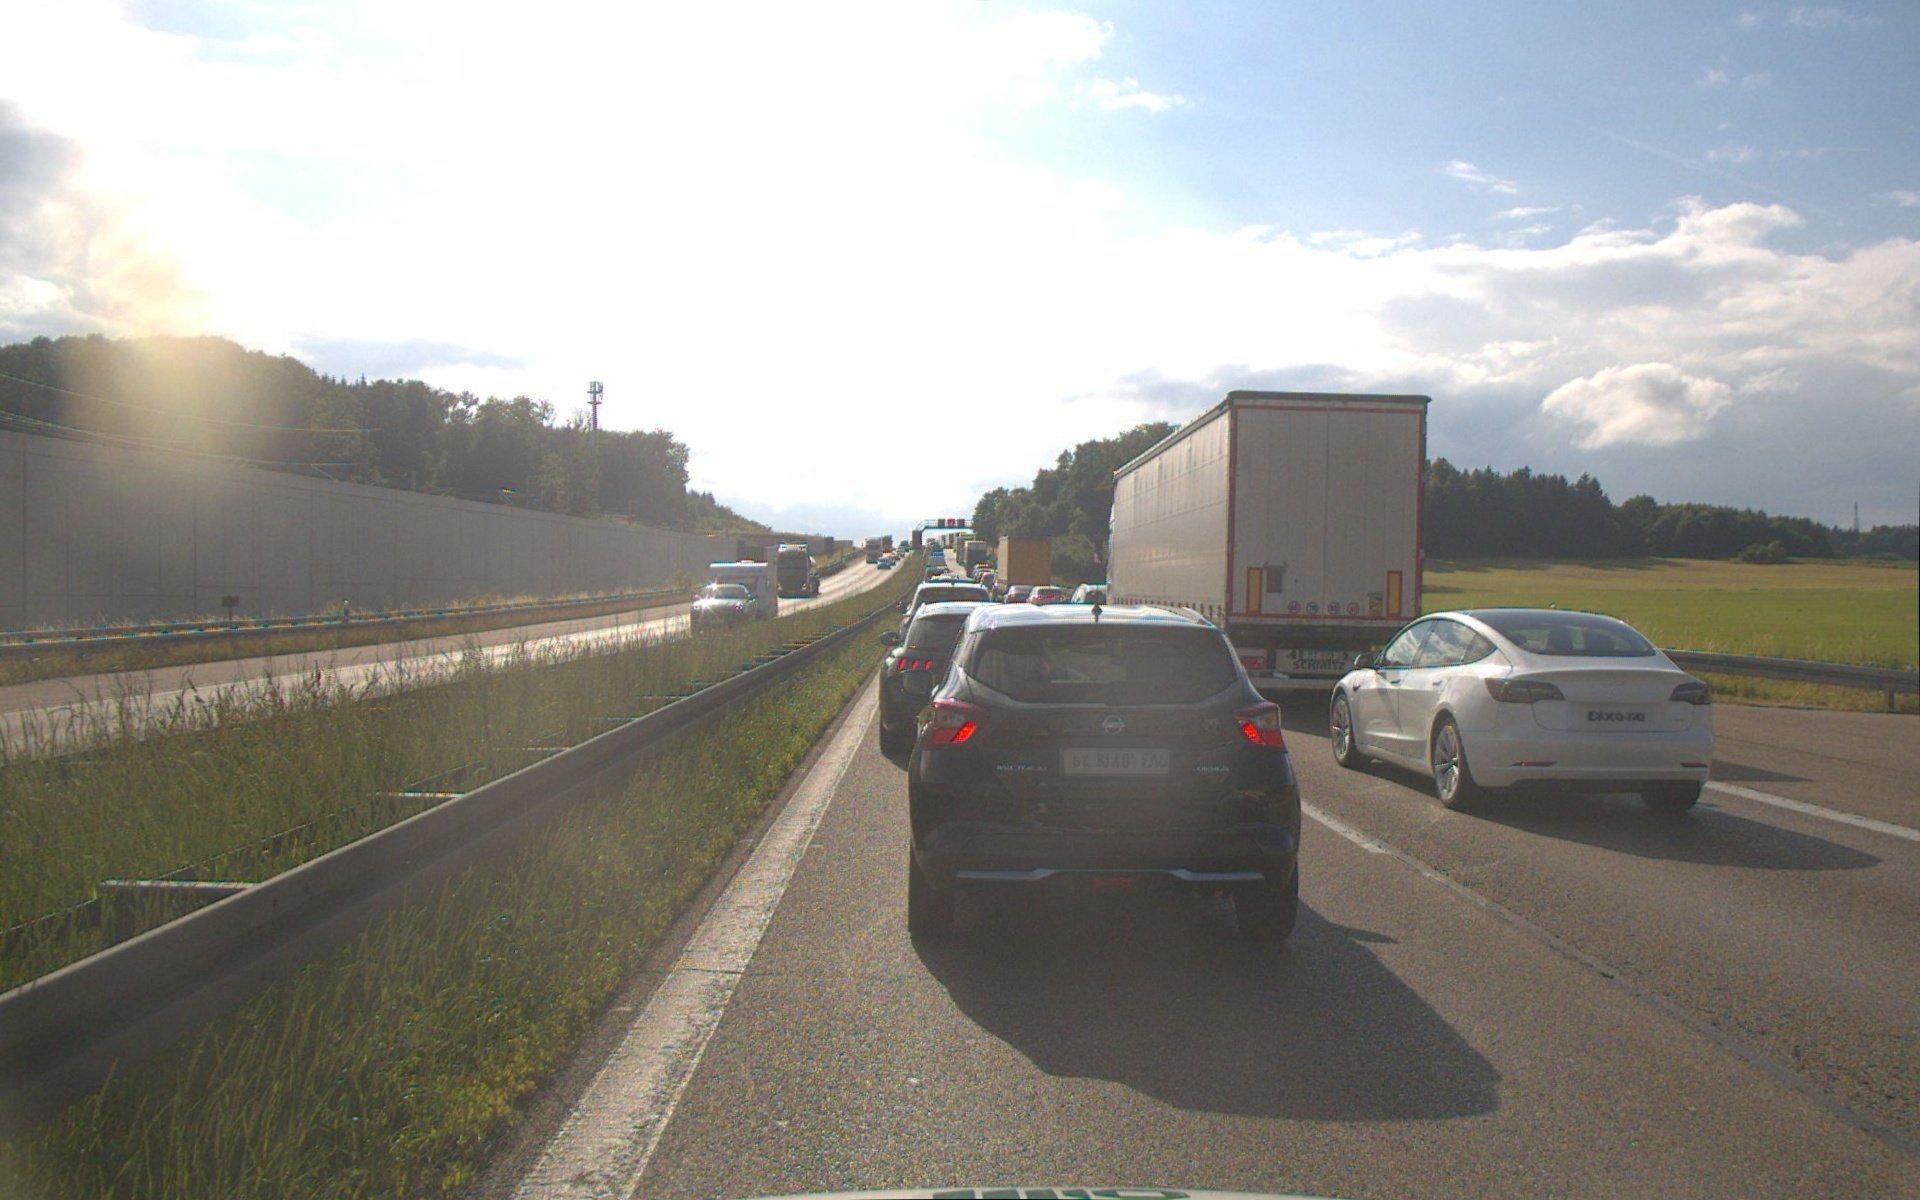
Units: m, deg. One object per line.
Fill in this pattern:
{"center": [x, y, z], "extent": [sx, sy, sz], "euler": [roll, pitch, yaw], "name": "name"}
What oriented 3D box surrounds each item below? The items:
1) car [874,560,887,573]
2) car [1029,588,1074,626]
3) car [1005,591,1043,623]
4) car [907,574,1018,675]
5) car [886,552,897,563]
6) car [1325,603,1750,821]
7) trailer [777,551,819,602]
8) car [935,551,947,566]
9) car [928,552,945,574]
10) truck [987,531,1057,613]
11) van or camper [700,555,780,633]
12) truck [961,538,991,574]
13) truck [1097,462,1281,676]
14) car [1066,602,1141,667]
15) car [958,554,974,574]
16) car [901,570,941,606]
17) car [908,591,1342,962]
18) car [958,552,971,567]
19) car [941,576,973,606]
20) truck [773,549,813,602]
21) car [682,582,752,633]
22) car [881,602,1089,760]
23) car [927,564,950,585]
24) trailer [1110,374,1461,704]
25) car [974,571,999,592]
{"center": [-11.345, -4.809, 235.820], "extent": [1.744, 1.767, 4.101], "euler": [0, 0, -1], "name": "car"}
{"center": [4.274, 0.299, 77.935], "extent": [1.835, 1.673, 4.232], "euler": [0, 1, -1], "name": "car"}
{"center": [3.352, 0.347, 87.304], "extent": [1.835, 1.673, 4.232], "euler": [0, 1, -1], "name": "car"}
{"center": [0.024, 0.408, 29.431], "extent": [1.835, 1.673, 4.231], "euler": [0, 0, -1], "name": "car"}
{"center": [-10.701, -6.652, 258.128], "extent": [1.663, 1.525, 4.426], "euler": [0, 0, -1], "name": "car"}
{"center": [4.366, 0.759, 13.299], "extent": [1.752, 1.418, 4.435], "euler": [0, 0, -2], "name": "car"}
{"center": [-13.096, -1.829, 134.534], "extent": [2.536, 3.970, 10.862], "euler": [-1, 0, -1], "name": "trailer"}
{"center": [-2.920, -6.384, 251.919], "extent": [1.835, 2.196, 5.211], "euler": [0, 3, -1], "name": "car"}
{"center": [-2.586, -4.052, 180.501], "extent": [1.835, 2.196, 5.211], "euler": [0, 3, -1], "name": "car"}
{"center": [3.652, -1.543, 100.763], "extent": [3.230, 4.657, 12.434], "euler": [1, 0, -2], "name": "truck"}
{"center": [-8.251, -0.222, 62.678], "extent": [2.207, 2.751, 7.168], "euler": [0, 0, -1], "name": "van or camper"}
{"center": [2.113, -5.958, 225.784], "extent": [3.395, 4.656, 12.437], "euler": [1, 1, -2], "name": "truck"}
{"center": [4.637, -0.576, 34.484], "extent": [3.069, 4.086, 5.163], "euler": [1, -1, 0], "name": "truck"}
{"center": [3.822, 0.887, 44.527], "extent": [1.663, 1.639, 4.437], "euler": [0, 0, 0], "name": "car"}
{"center": [0.709, -4.350, 200.100], "extent": [1.835, 2.196, 5.211], "euler": [0, 3, -1], "name": "car"}
{"center": [-1.802, -0.591, 77.752], "extent": [1.835, 1.673, 4.232], "euler": [0, 1, -1], "name": "car"}
{"center": [0.638, 0.702, 8.721], "extent": [1.737, 1.476, 4.231], "euler": [0, 0, -1], "name": "car"}
{"center": [0.675, -6.199, 255.377], "extent": [1.835, 2.196, 5.211], "euler": [0, 3, -1], "name": "car"}
{"center": [-0.190, -0.540, 96.567], "extent": [1.835, 1.673, 4.232], "euler": [0, 2, -1], "name": "car"}
{"center": [-13.010, -1.884, 129.190], "extent": [2.530, 3.991, 5.721], "euler": [-1, 0, -1], "name": "truck"}
{"center": [-8.311, 0.241, 56.901], "extent": [1.872, 1.701, 4.361], "euler": [0, 0, -1], "name": "car"}
{"center": [0.196, 0.712, 16.673], "extent": [1.835, 1.381, 4.231], "euler": [0, 0, -1], "name": "car"}
{"center": [-1.788, -2.118, 136.840], "extent": [1.835, 1.673, 4.231], "euler": [0, 2, -2], "name": "car"}
{"center": [4.674, -0.665, 27.317], "extent": [3.067, 4.081, 13.364], "euler": [1, -1, 0], "name": "trailer"}
{"center": [2.292, -1.622, 143.103], "extent": [1.836, 1.673, 4.229], "euler": [0, 2, -4], "name": "car"}
